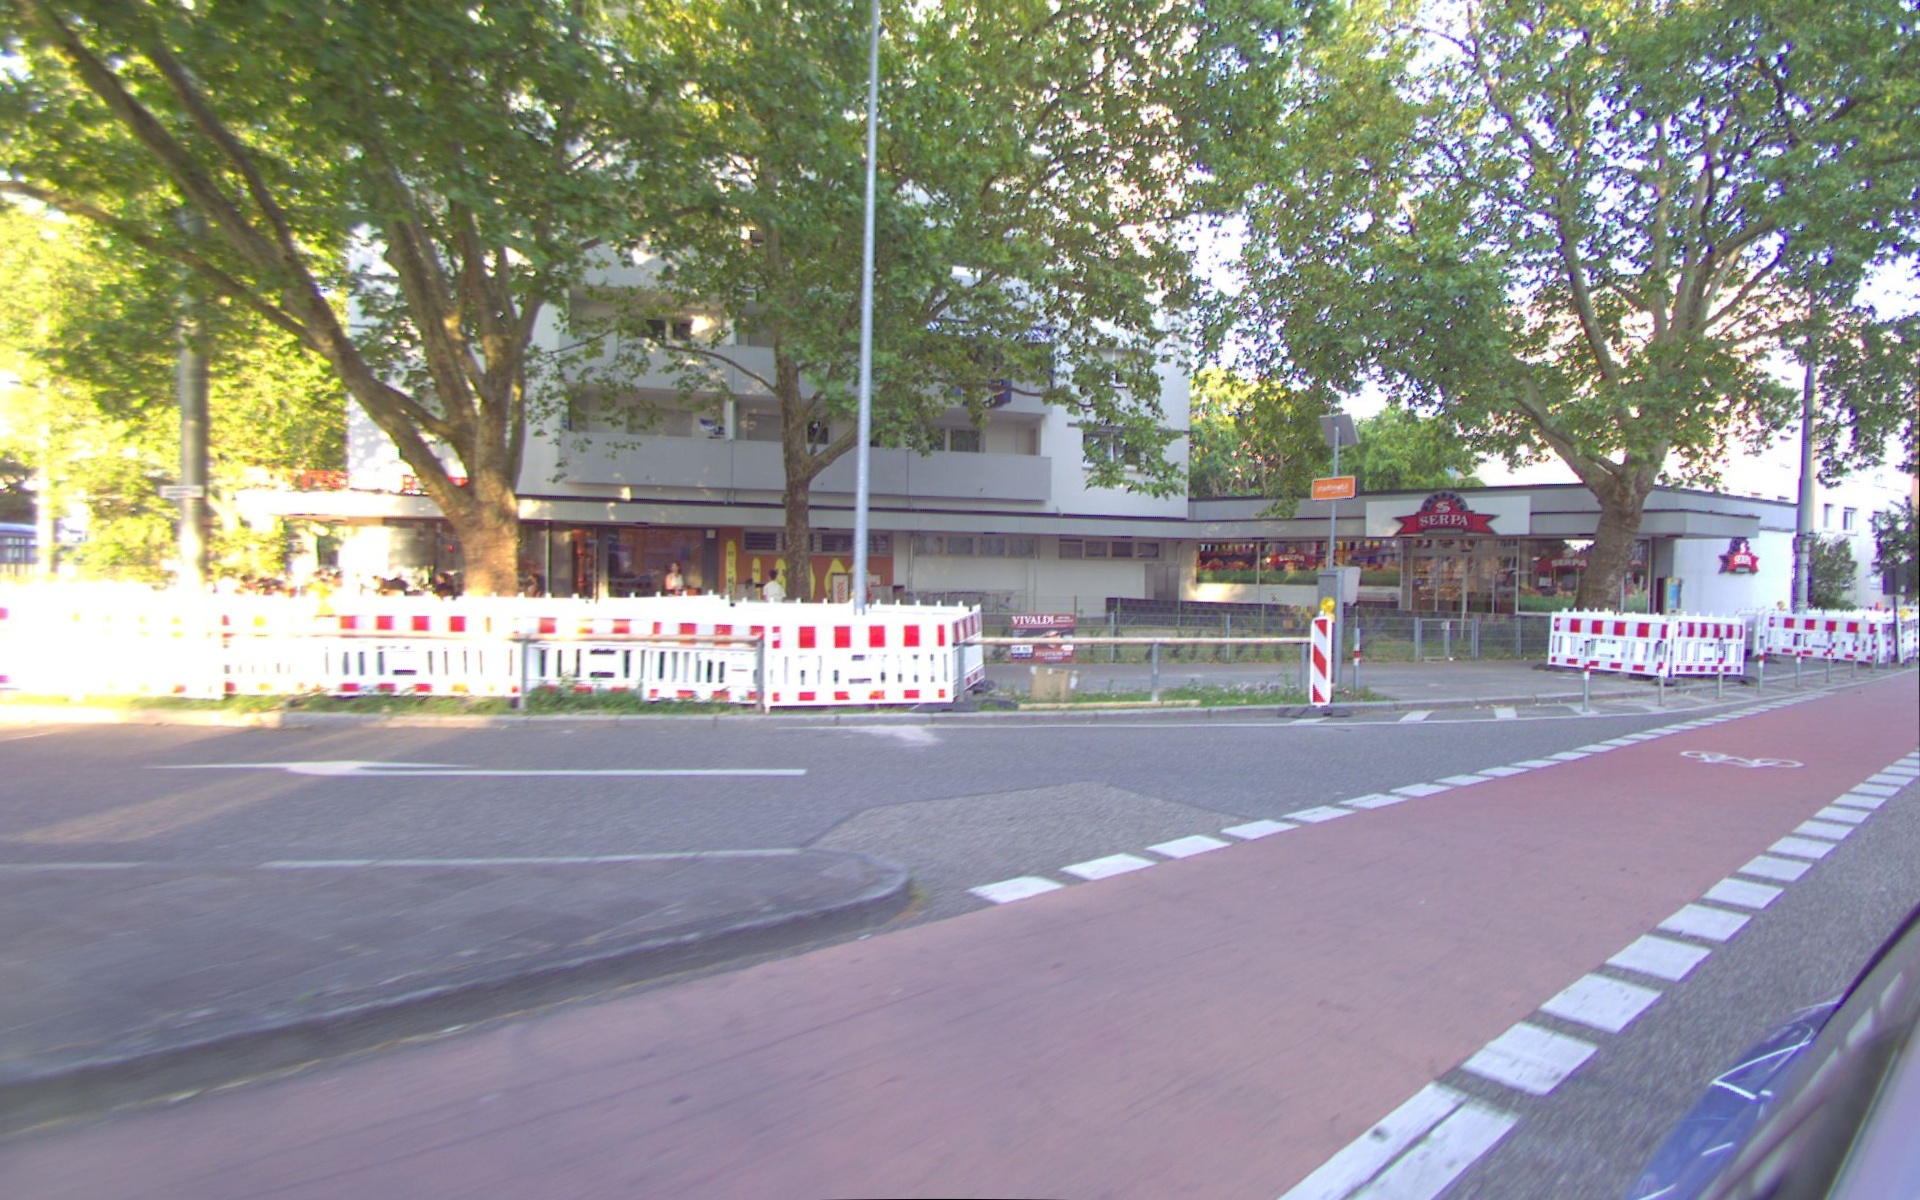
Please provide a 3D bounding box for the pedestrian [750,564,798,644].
[{"bbox_3d":[-3.805,0.068,20.756,0.636,1.608,0.739,0,1,30],"label":"pedestrian"}]

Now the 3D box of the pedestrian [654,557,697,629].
[{"bbox_3d":[-6.534,-0.169,23.257,0.639,1.608,0.735,0,1,43],"label":"pedestrian"}]
